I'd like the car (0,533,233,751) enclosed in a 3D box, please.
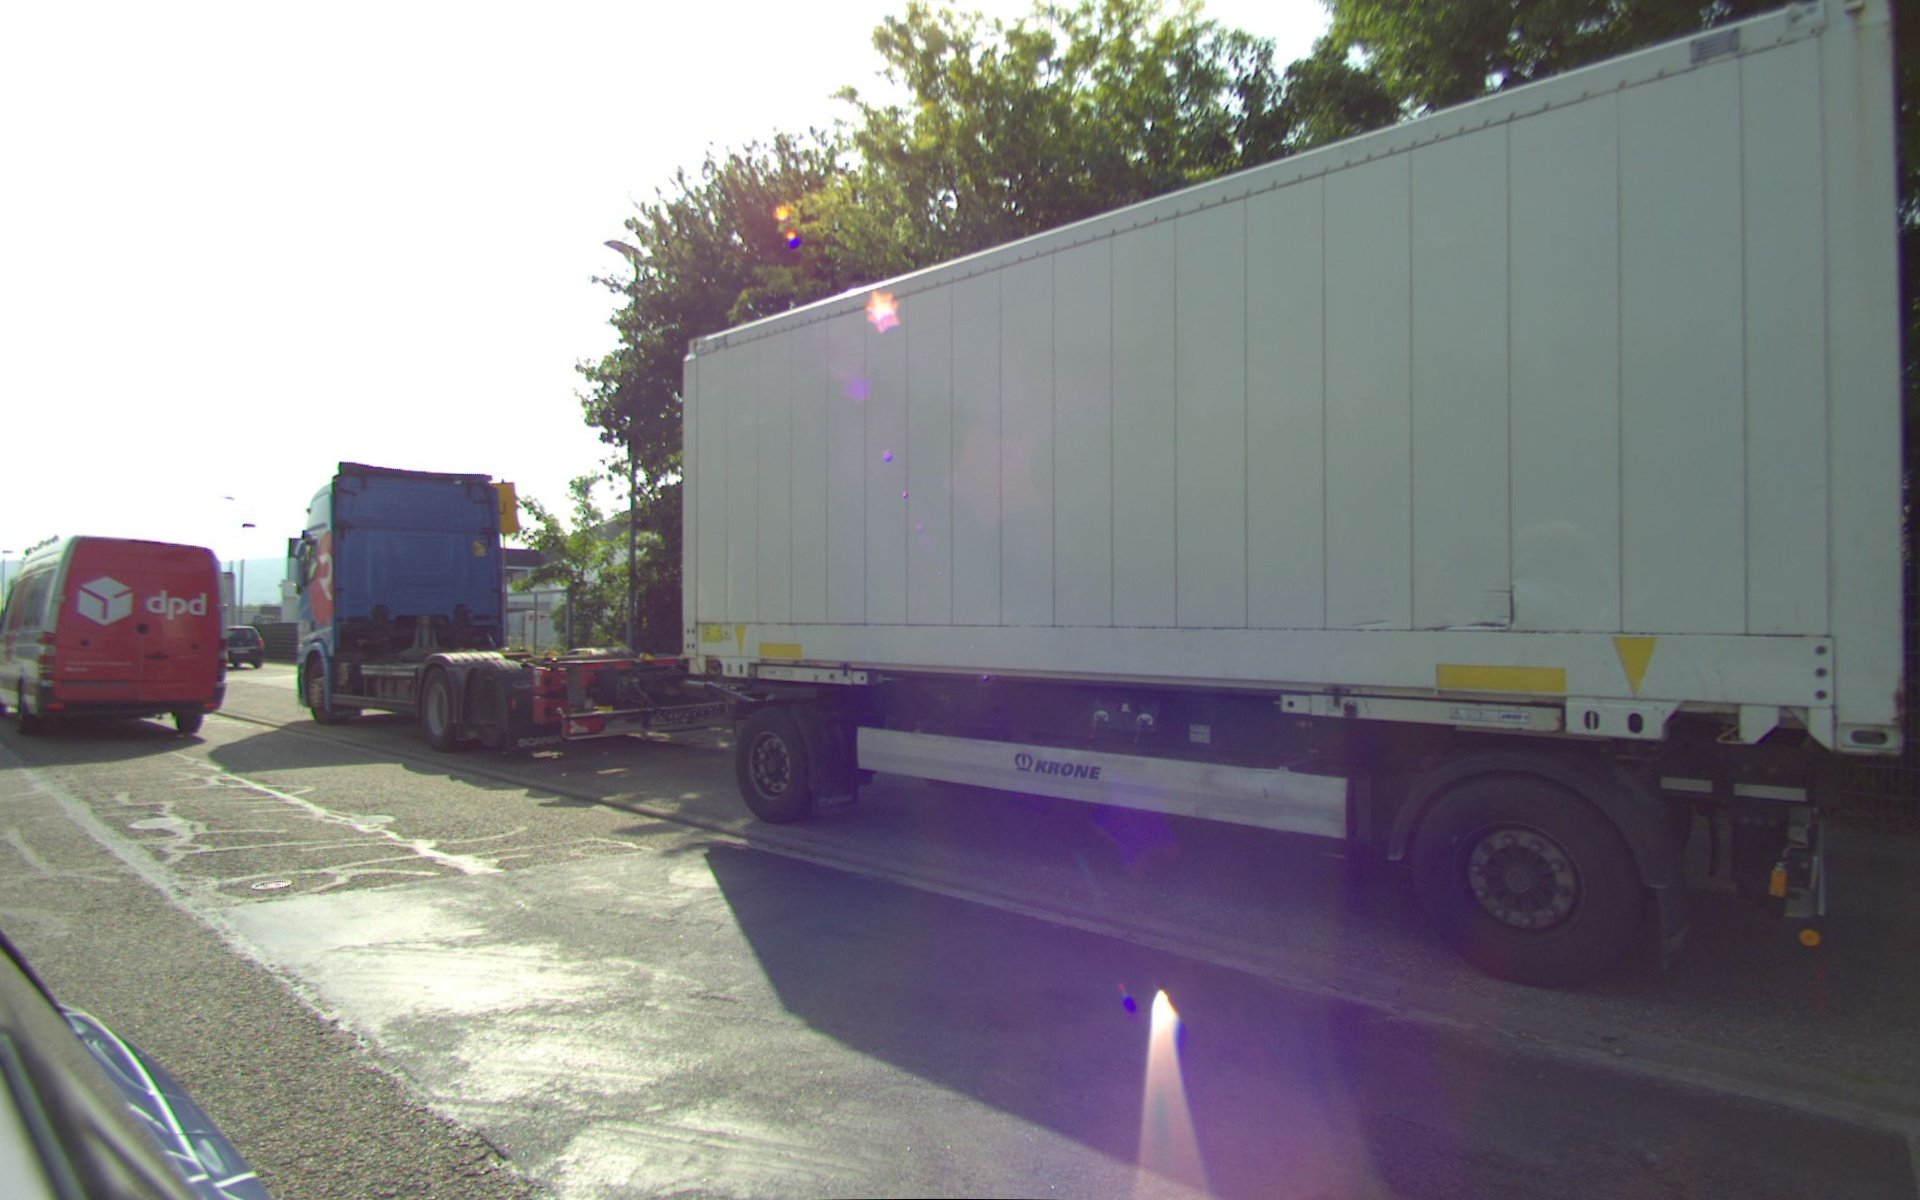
[{"bbox_3d":[-12.938,0.624,14.997,6.988,2.566,1.972,-2,-4,42],"label":"car"}]

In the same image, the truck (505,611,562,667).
[{"bbox_3d":[-33.648,3.091,79.555,2.859,4.087,9.266,2,-3,-30],"label":"truck"}]

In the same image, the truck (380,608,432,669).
[{"bbox_3d":[-41.013,2.883,74.724,2.989,4.168,9.266,2,-3,-30],"label":"truck"}]

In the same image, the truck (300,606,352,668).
[{"bbox_3d":[-43.990,2.591,70.446,2.613,4.009,9.266,2,-3,-30],"label":"truck"}]

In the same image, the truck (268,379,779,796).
[{"bbox_3d":[-6.498,-0.013,13.755,9.634,3.914,2.684,-2,-2,43],"label":"truck"}]

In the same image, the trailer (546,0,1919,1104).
[{"bbox_3d":[0.686,-0.209,7.243,9.759,3.914,2.672,-2,-2,41],"label":"trailer"}]

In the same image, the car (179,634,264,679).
[{"bbox_3d":[-28.460,2.141,38.967,4.190,1.604,1.745,-2,-2,41],"label":"car"}]

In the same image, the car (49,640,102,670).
[{"bbox_3d":[-48.717,3.006,55.699,3.965,1.594,1.712,-2,-2,41],"label":"car"}]
